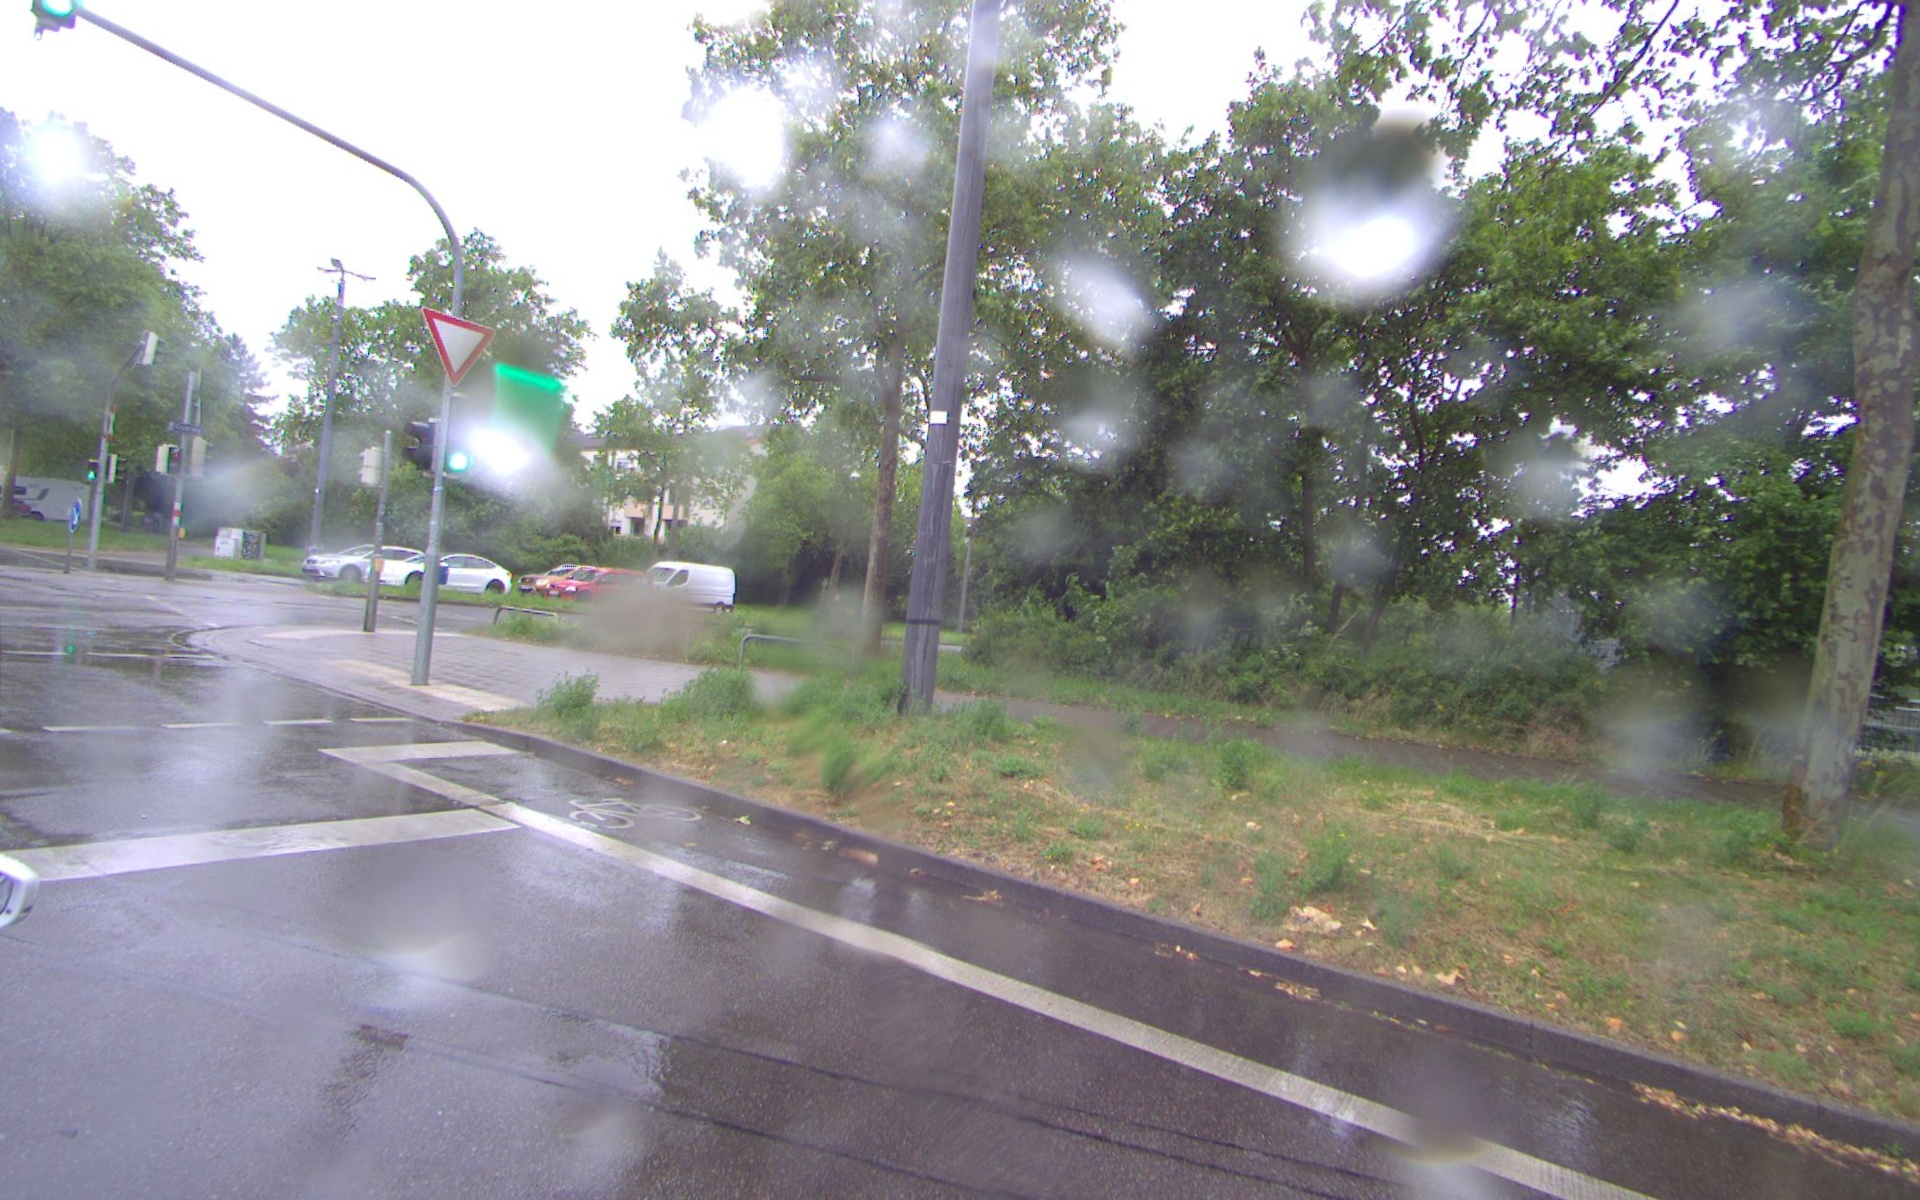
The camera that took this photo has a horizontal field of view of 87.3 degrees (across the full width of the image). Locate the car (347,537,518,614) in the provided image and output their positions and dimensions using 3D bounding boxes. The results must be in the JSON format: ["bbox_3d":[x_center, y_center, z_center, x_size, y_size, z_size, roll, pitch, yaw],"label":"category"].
[{"bbox_3d":[-17.155,-0.745,32.983,1.900,1.849,4.608,7,-2,26],"label":"car"}]

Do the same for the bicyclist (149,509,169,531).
[{"bbox_3d":[-59.575,-5.958,74.840,0.943,1.441,0.860,6,-2,42],"label":"bicyclist"}]

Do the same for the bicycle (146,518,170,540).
[{"bbox_3d":[-59.671,-5.323,74.849,2.666,1.441,0.860,6,-2,42],"label":"bicycle"}]

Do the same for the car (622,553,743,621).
[{"bbox_3d":[-13.014,-0.551,47.577,1.966,2.419,5.619,6,-2,29],"label":"car"}]

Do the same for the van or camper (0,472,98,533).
[{"bbox_3d":[-63.197,-6.705,67.613,7.388,3.215,3.231,9,-2,-36],"label":"van or camper"}]

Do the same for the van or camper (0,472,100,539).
[{"bbox_3d":[-56.925,-5.908,60.735,7.296,3.215,3.226,9,-2,-40],"label":"van or camper"}]

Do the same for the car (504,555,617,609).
[{"bbox_3d":[-16.395,-0.694,41.502,1.759,1.625,4.069,7,-2,26],"label":"car"}]

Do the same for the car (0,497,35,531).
[{"bbox_3d":[-55.779,-5.140,57.167,4.424,1.736,1.980,9,-2,-37],"label":"car"}]

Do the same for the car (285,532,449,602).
[{"bbox_3d":[-20.138,-1.064,34.384,1.900,1.710,4.407,7,-2,26],"label":"car"}]

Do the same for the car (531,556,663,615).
[{"bbox_3d":[-13.838,-0.511,38.628,1.760,1.625,4.615,6,-2,29],"label":"car"}]
